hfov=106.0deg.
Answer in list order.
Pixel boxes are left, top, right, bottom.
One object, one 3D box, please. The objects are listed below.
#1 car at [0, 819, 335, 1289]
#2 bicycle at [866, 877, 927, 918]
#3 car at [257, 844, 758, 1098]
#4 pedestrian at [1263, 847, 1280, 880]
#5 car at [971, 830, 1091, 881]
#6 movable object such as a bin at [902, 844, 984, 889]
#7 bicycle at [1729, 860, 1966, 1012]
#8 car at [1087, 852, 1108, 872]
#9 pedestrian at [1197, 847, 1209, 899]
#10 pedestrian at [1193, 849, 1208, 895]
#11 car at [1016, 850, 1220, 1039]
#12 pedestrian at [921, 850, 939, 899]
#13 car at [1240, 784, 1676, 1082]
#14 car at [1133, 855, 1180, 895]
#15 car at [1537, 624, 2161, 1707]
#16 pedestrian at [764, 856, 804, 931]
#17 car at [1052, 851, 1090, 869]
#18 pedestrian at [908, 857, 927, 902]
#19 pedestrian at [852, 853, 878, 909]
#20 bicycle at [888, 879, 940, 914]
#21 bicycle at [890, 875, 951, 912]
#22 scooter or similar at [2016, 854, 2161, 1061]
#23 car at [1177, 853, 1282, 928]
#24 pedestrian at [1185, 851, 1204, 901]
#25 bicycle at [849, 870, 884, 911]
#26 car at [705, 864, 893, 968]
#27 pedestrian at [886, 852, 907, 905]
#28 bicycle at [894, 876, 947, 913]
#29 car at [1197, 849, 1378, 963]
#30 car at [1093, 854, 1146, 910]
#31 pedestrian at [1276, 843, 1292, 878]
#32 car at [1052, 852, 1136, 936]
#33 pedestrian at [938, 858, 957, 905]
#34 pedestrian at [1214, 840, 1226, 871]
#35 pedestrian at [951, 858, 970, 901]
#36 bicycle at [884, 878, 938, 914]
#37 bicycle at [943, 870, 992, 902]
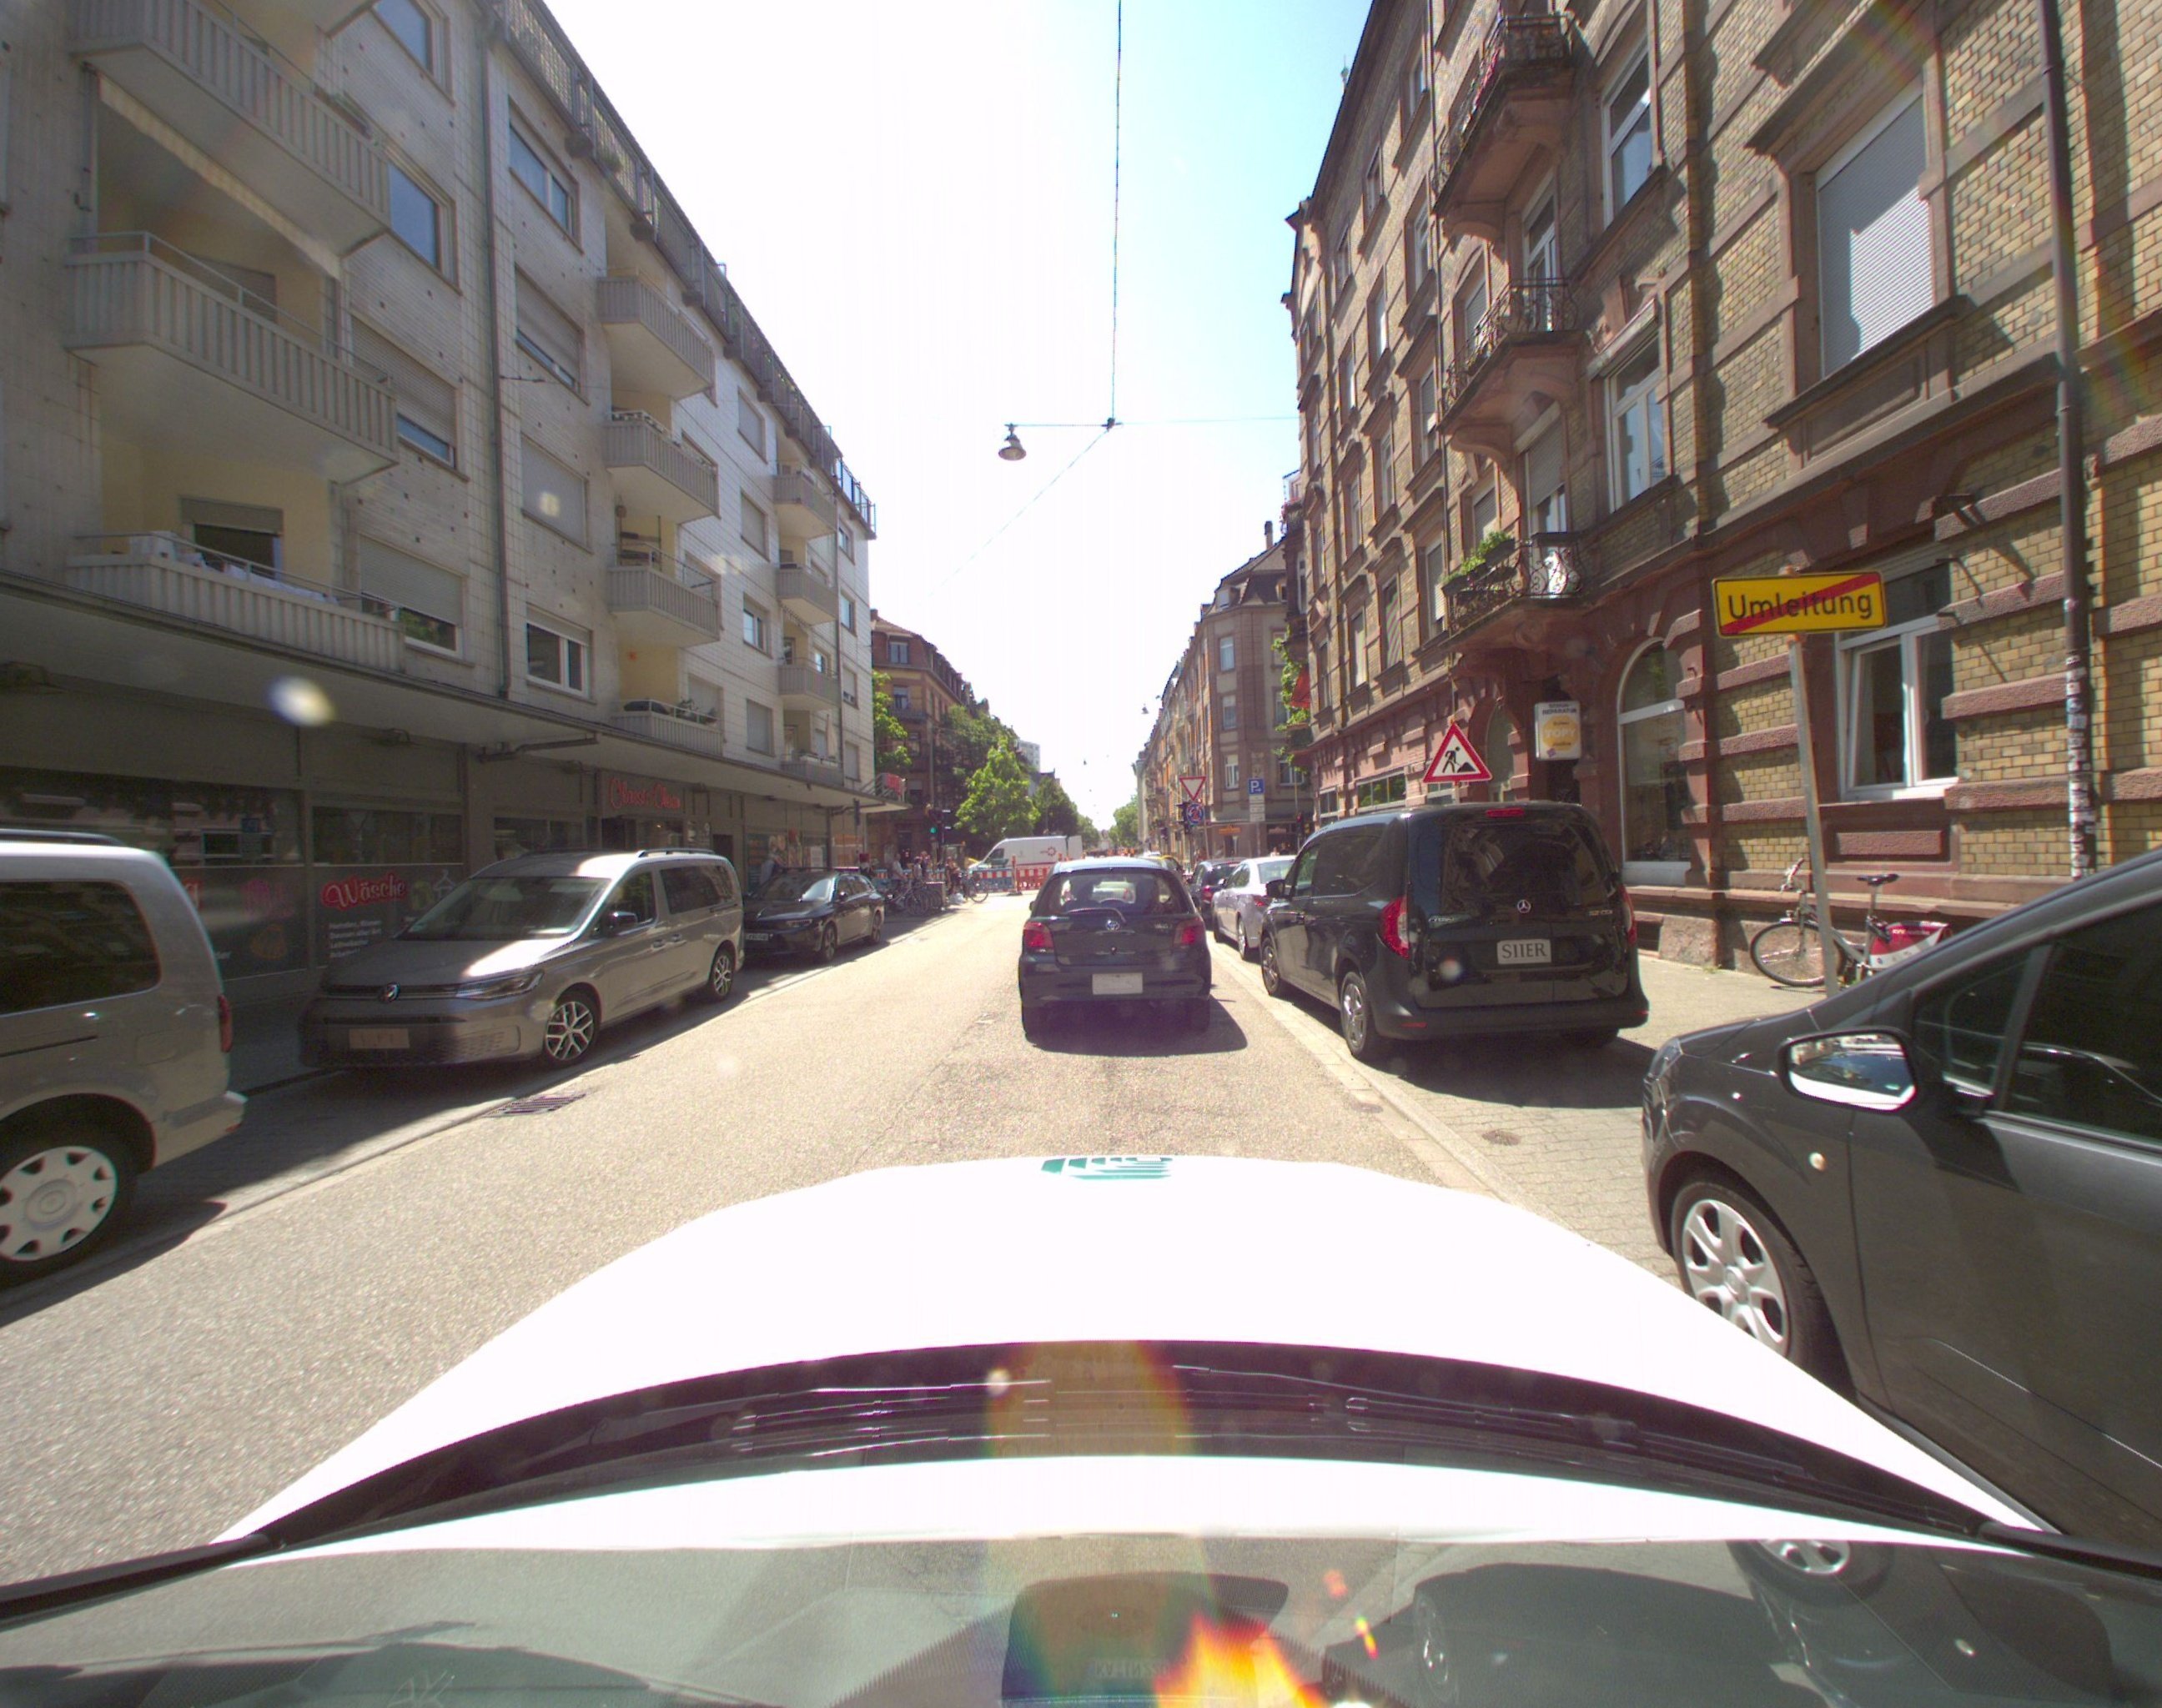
[{"bbox_3d":[-5.143,0.791,2.111,1.782,1.829,4.902,-1,0,2],"label":"car"},{"bbox_3d":[-5.124,1.210,22.723,1.580,1.139,0.526,0,-1,-3],"label":"bicycle"},{"bbox_3d":[-5.098,0.850,8.269,1.783,1.811,4.697,-1,0,-1],"label":"car"},{"bbox_3d":[10.060,0.494,42.993,0.701,1.645,0.422,-4,3,-7],"label":"pedestrian"},{"bbox_3d":[-2.766,0.086,46.355,6.594,2.751,2.381,0,-1,2],"label":"car"},{"bbox_3d":[-8.339,0.749,49.338,4.522,2.659,1.957,0,-1,4],"label":"movable object such as a bin"},{"bbox_3d":[6.351,0.610,6.884,0.352,1.103,1.756,-2,0,2],"label":"bicycle"},{"bbox_3d":[1.577,0.727,75.868,1.748,1.645,4.379,-5,-1,2],"label":"car"},{"bbox_3d":[4.009,0.621,26.821,0.330,1.675,0.402,-2,-1,8],"label":"pedestrian"},{"bbox_3d":[4.159,0.625,28.460,0.457,1.560,0.480,-2,-1,7],"label":"pedestrian"},{"bbox_3d":[0.401,0.740,8.154,1.606,1.485,3.244,-1,-1,4],"label":"car"},{"bbox_3d":[-5.739,0.789,30.936,0.507,1.820,0.599,-2,-1,-1],"label":"pedestrian"},{"bbox_3d":[2.793,0.508,7.287,1.819,1.767,4.337,-3,-1,0],"label":"car"},{"bbox_3d":[3.080,0.783,32.724,1.618,1.432,3.669,-3,-1,8],"label":"car"},{"bbox_3d":[2.498,0.498,1.009,1.695,1.733,4.001,-1,-1,2],"label":"car"},{"bbox_3d":[-7.072,0.933,19.407,0.628,1.727,0.659,-2,-1,3],"label":"pedestrian"},{"bbox_3d":[-1.309,0.827,108.419,4.581,2.187,1.983,-2,-1,-26],"label":"car"},{"bbox_3d":[-5.951,0.920,29.698,0.507,1.633,0.599,-2,-1,-1],"label":"pedestrian"},{"bbox_3d":[-7.066,0.863,26.658,0.528,1.797,0.938,-2,0,2],"label":"pedestrian"},{"bbox_3d":[-4.942,1.251,24.111,1.444,1.036,0.335,0,-1,-3],"label":"bicycle"},{"bbox_3d":[-4.991,1.219,25.363,1.794,1.123,0.577,0,-1,-5],"label":"bicycle"},{"bbox_3d":[6.301,0.580,4.212,0.475,1.153,2.150,-2,0,2],"label":"scooter or similar"},{"bbox_3d":[3.212,0.745,18.223,1.622,1.432,3.659,-3,-1,0],"label":"car"},{"bbox_3d":[3.616,0.695,25.987,0.490,1.543,0.437,-4,-1,7],"label":"pedestrian"},{"bbox_3d":[-7.061,1.174,26.884,0.533,1.247,2.013,-2,0,2],"label":"bicycle"},{"bbox_3d":[-4.838,0.982,14.721,1.663,1.525,4.466,-1,0,2],"label":"car"},{"bbox_3d":[-6.300,0.834,27.808,0.507,1.770,0.599,-2,-1,-1],"label":"pedestrian"},{"bbox_3d":[-4.857,1.230,24.657,1.515,1.117,0.335,0,-1,-3],"label":"bicycle"},{"bbox_3d":[3.077,0.711,13.122,1.720,1.432,4.485,-3,0,0],"label":"car"},{"bbox_3d":[1.242,0.841,25.760,1.516,1.592,3.267,-2,0,4],"label":"car"},{"bbox_3d":[10.736,0.326,43.072,0.574,1.768,0.470,-4,3,-7],"label":"pedestrian"},{"bbox_3d":[0.293,0.743,16.912,1.517,1.521,3.265,-2,0,1],"label":"car"},{"bbox_3d":[-4.686,0.962,28.670,0.539,1.633,0.511,-2,-1,-1],"label":"pedestrian"},{"bbox_3d":[8.040,0.099,47.206,0.473,1.733,0.876,-2,-2,21],"label":"pedestrian"},{"bbox_3d":[-4.433,0.941,29.965,0.491,1.565,0.462,0,0,28],"label":"pedestrian"},{"bbox_3d":[-4.932,1.208,23.642,1.490,1.030,0.397,0,-1,-3],"label":"bicycle"},{"bbox_3d":[-4.187,1.176,30.117,1.789,1.119,0.470,-1,0,23],"label":"bicycle"}]
